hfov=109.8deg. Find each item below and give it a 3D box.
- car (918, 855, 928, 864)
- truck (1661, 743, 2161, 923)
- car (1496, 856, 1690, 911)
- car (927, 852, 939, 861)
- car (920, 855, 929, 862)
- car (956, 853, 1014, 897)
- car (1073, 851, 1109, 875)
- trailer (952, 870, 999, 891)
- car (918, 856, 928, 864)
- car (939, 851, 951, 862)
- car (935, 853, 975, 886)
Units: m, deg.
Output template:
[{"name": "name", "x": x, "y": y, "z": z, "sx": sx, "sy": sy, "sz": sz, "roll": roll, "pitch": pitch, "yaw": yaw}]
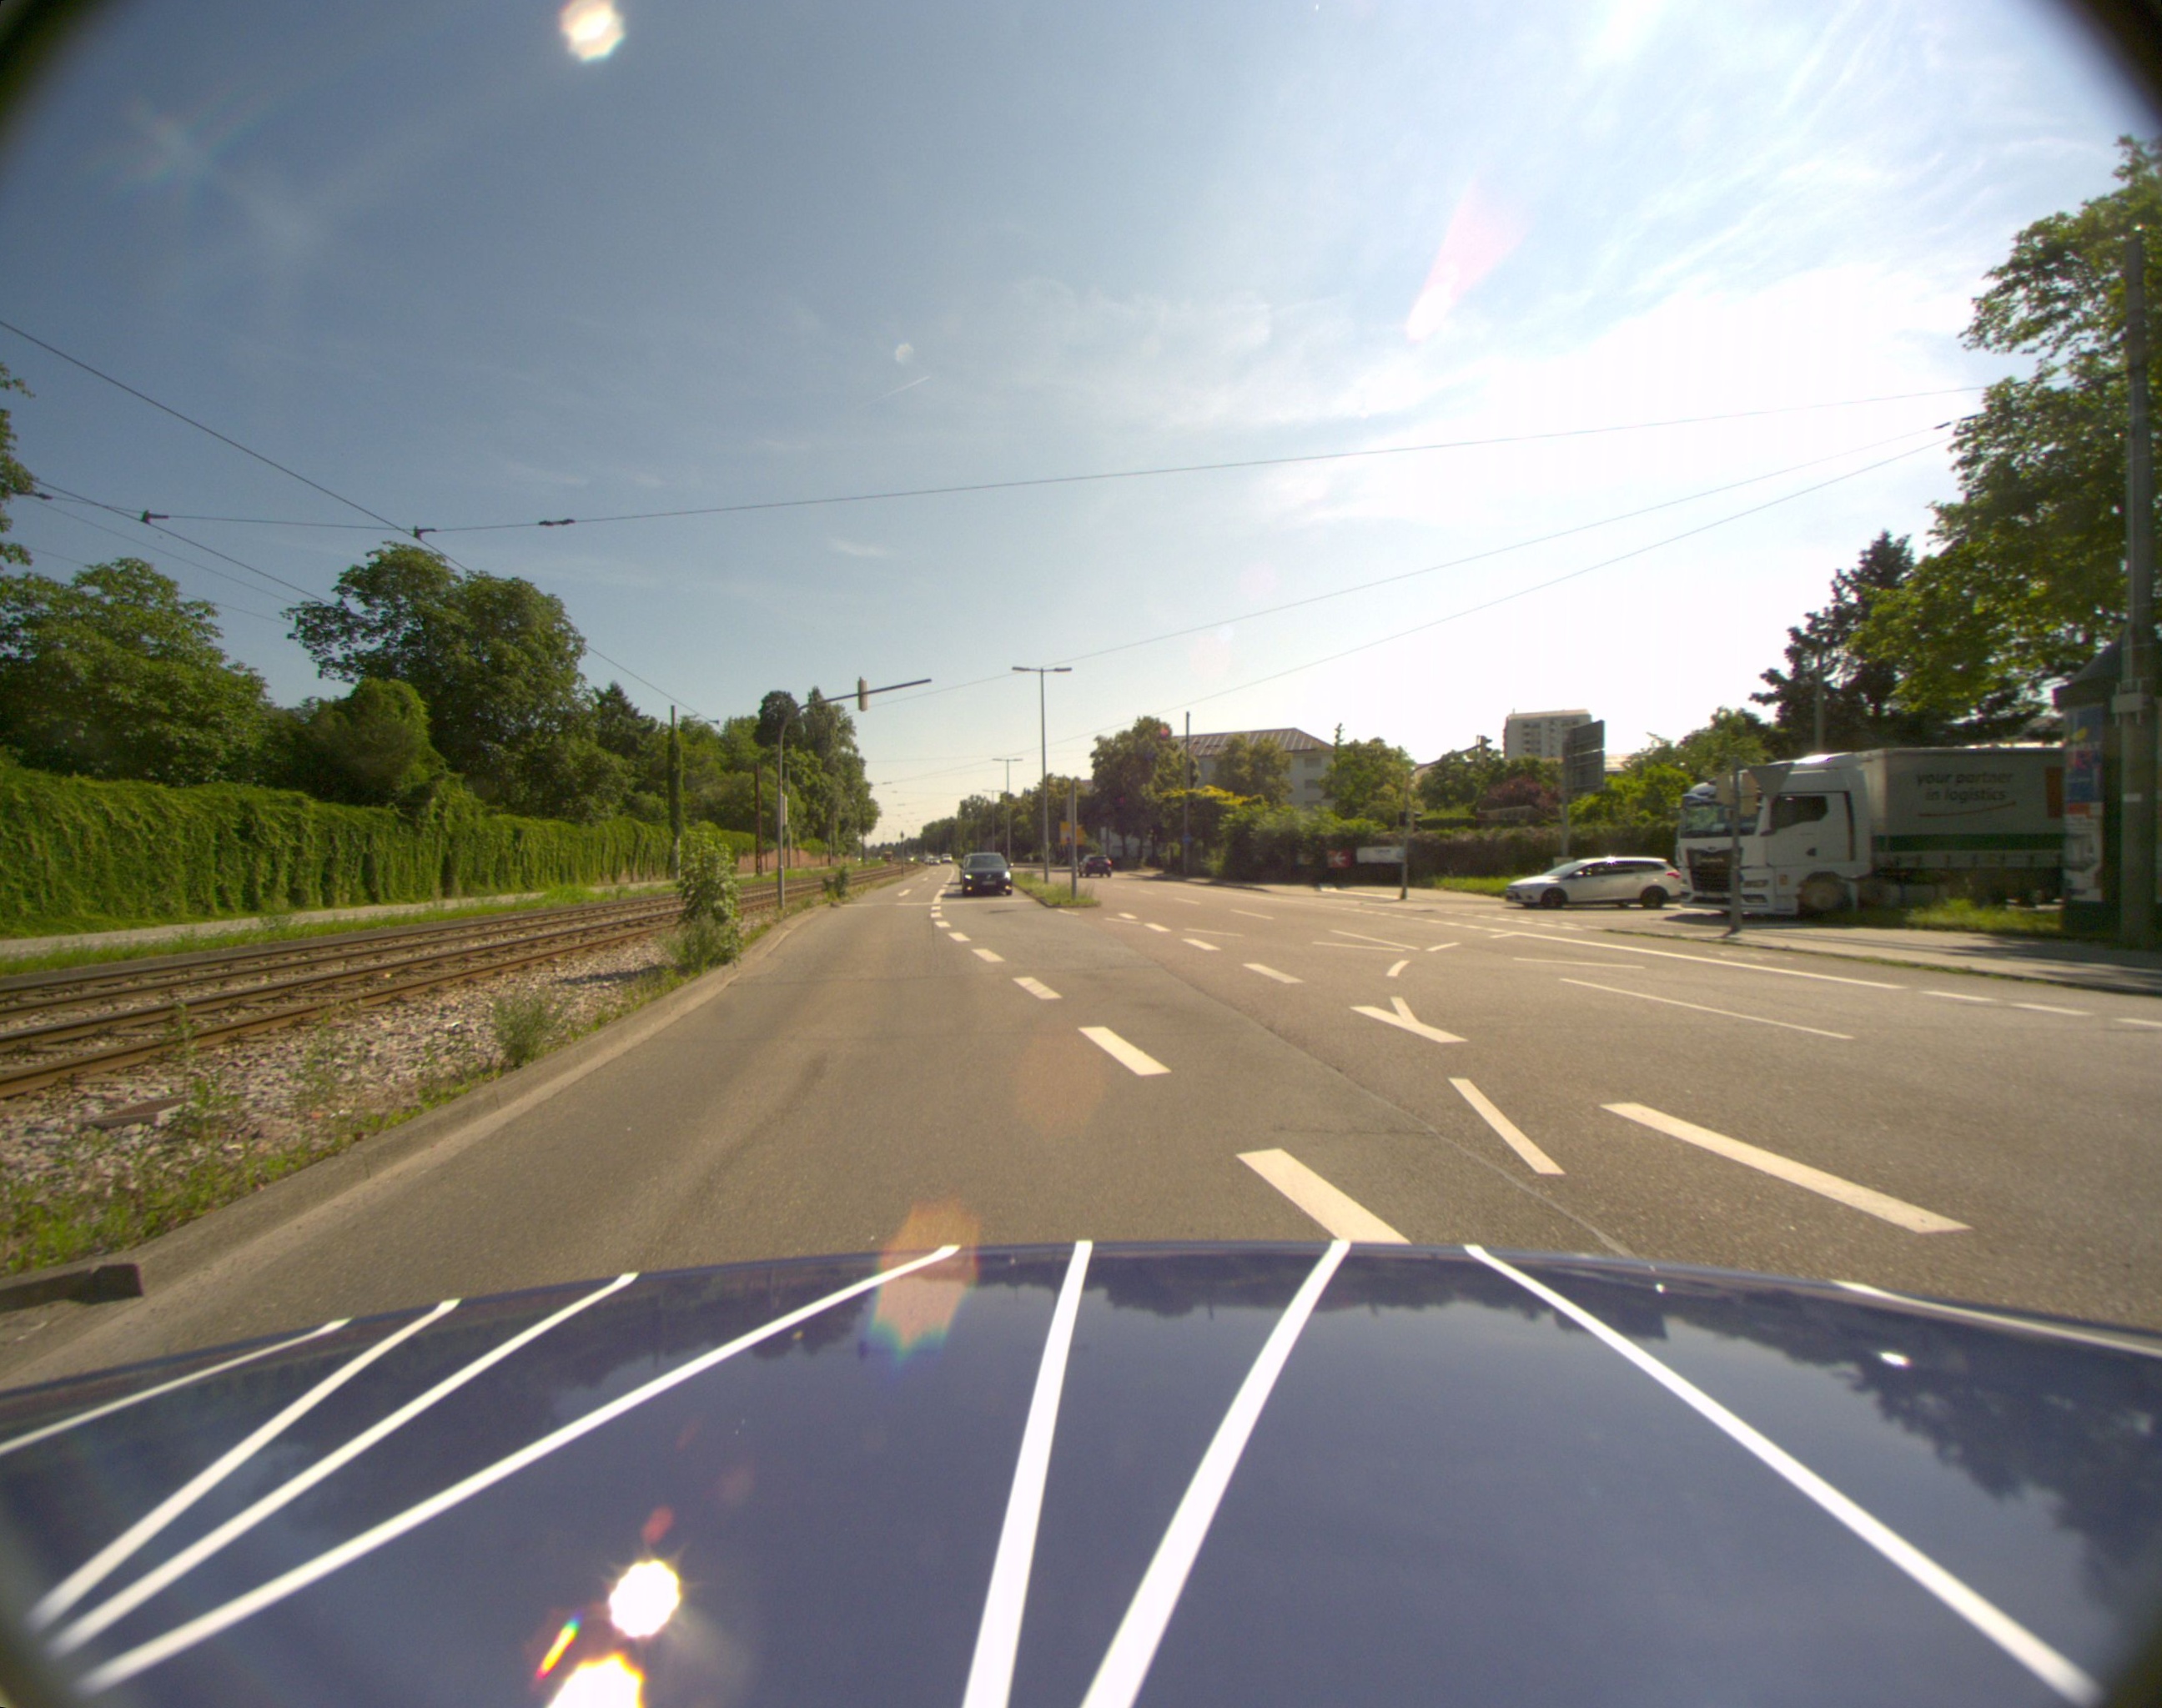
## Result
[{"name": "car", "x": -30.225, "y": 1.005, "z": 145.559, "sx": 1.932, "sy": 1.593, "sz": 4.463, "roll": -1, "pitch": 1, "yaw": -11}, {"name": "truck", "x": 22.257, "y": -0.473, "z": 18.521, "sx": 14.295, "sy": 3.984, "sz": 2.854, "roll": 0, "pitch": 1, "yaw": -2}, {"name": "car", "x": 14.855, "y": 0.853, "z": 22.263, "sx": 4.392, "sy": 1.501, "sz": 1.757, "roll": -1, "pitch": -1, "yaw": 7}, {"name": "car", "x": -25.276, "y": 0.429, "z": 129.682, "sx": 1.932, "sy": 1.593, "sz": 4.463, "roll": -1, "pitch": 1, "yaw": -12}, {"name": "car", "x": -36.229, "y": 0.990, "z": 176.285, "sx": 1.932, "sy": 1.593, "sz": 4.463, "roll": -1, "pitch": 1, "yaw": -11}, {"name": "car", "x": -3.818, "y": 0.765, "z": 29.626, "sx": 1.757, "sy": 1.573, "sz": 4.500, "roll": 0, "pitch": 0, "yaw": -13}, {"name": "car", "x": 0.661, "y": 0.619, "z": 54.246, "sx": 1.757, "sy": 1.573, "sz": 4.501, "roll": 1, "pitch": 0, "yaw": -11}, {"name": "trailer", "x": -4.663, "y": 1.146, "z": 33.312, "sx": 1.757, "sy": 0.813, "sz": 3.066, "roll": 0, "pitch": 0, "yaw": -13}, {"name": "car", "x": -33.076, "y": 1.160, "z": 158.932, "sx": 1.932, "sy": 1.593, "sz": 4.463, "roll": -1, "pitch": 1, "yaw": -11}, {"name": "car", "x": -28.602, "y": 0.552, "z": 159.786, "sx": 2.266, "sy": 2.336, "sz": 5.225, "roll": -1, "pitch": 1, "yaw": -10}, {"name": "car", "x": -6.575, "y": 0.740, "z": 39.226, "sx": 1.757, "sy": 1.573, "sz": 4.500, "roll": 0, "pitch": 0, "yaw": -13}]
